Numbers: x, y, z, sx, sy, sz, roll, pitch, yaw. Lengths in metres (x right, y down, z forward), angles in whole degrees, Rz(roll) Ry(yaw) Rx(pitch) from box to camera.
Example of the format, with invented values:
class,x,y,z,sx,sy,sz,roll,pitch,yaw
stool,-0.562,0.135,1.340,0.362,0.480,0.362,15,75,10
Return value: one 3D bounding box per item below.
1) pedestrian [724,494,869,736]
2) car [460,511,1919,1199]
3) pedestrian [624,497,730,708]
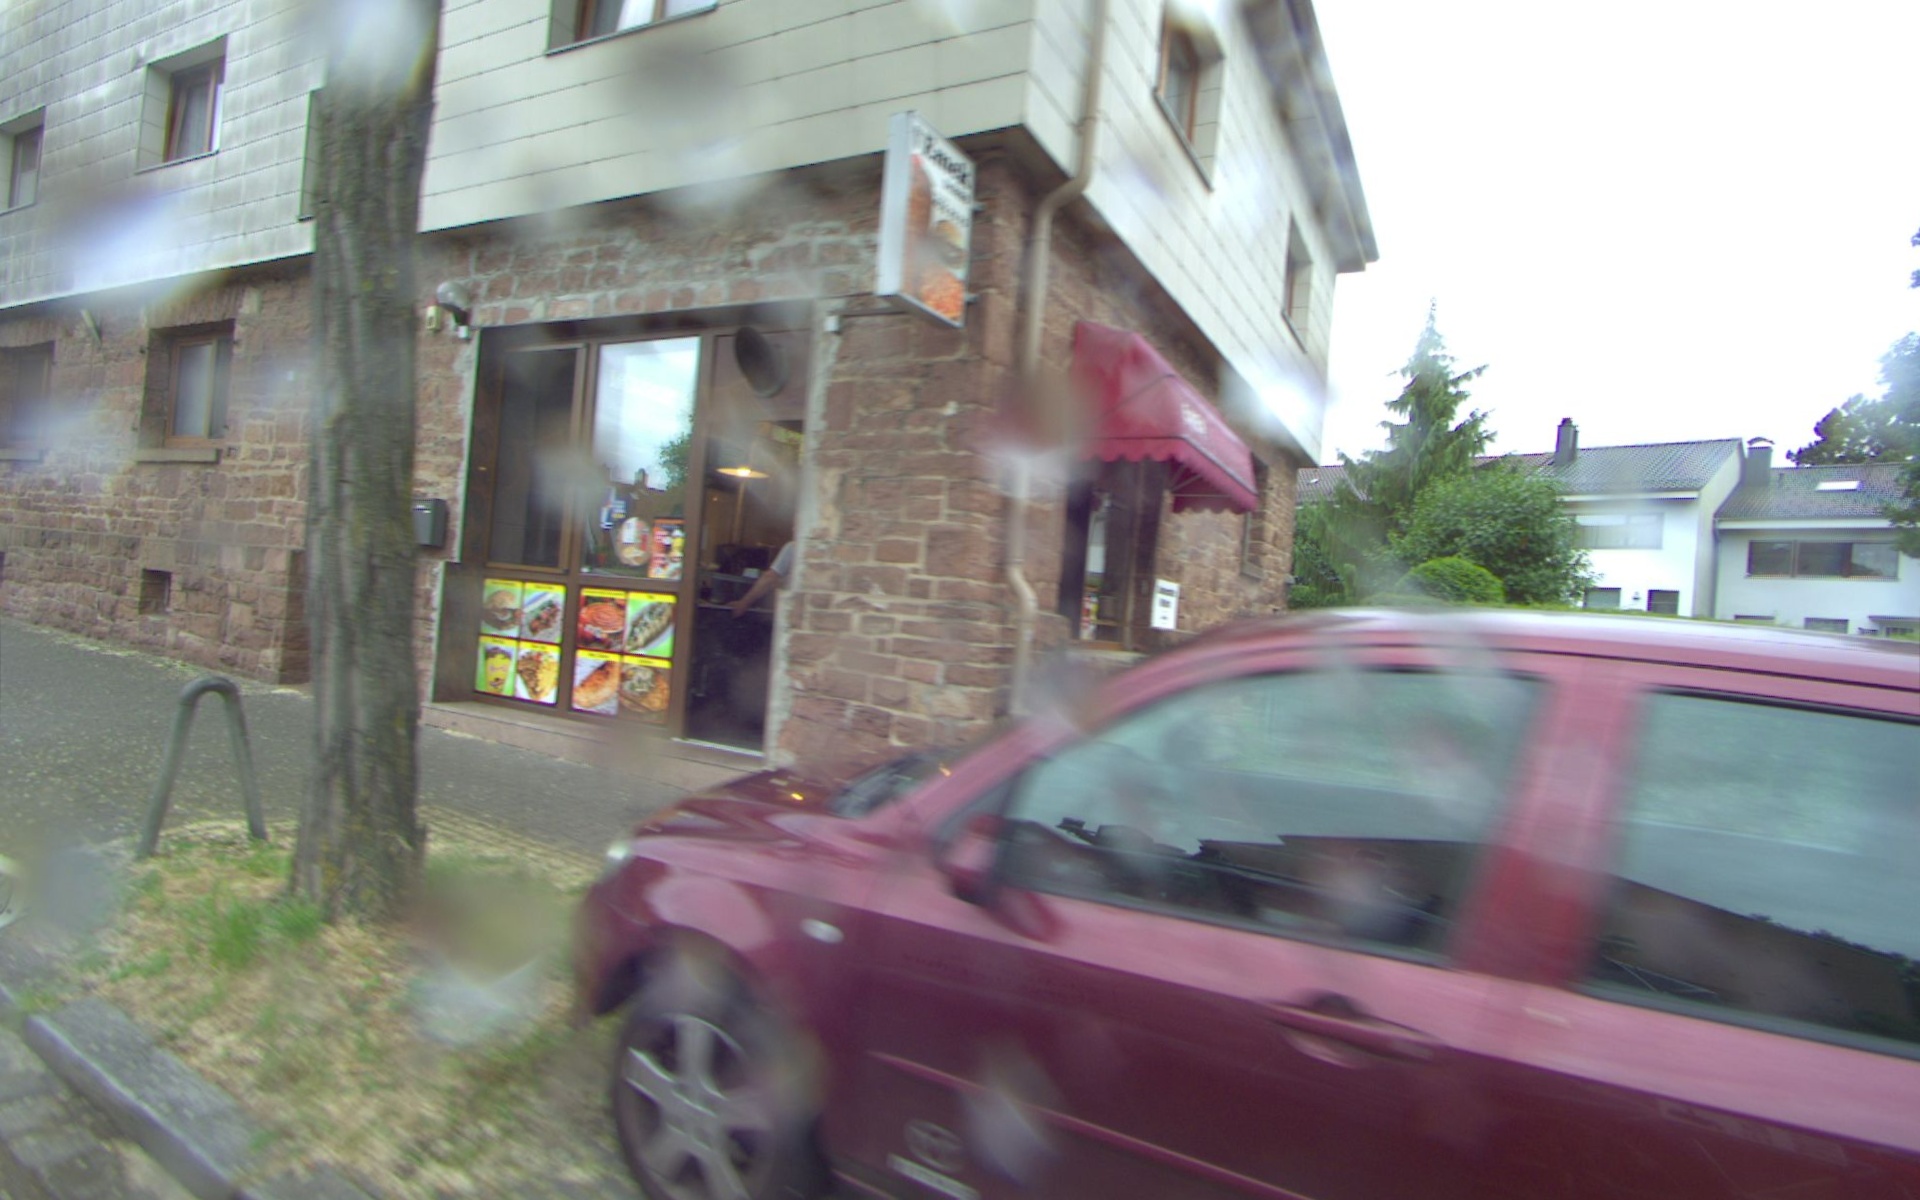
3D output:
class,x,y,z,sx,sy,sz,roll,pitch,yaw
pedestrian,-1.245,0.135,7.734,0.478,1.750,0.799,5,-2,41
car,0.860,0.723,2.261,3.693,1.521,1.614,4,-3,29
pedestrian,-2.345,0.028,8.346,0.447,1.679,0.493,6,-1,31
